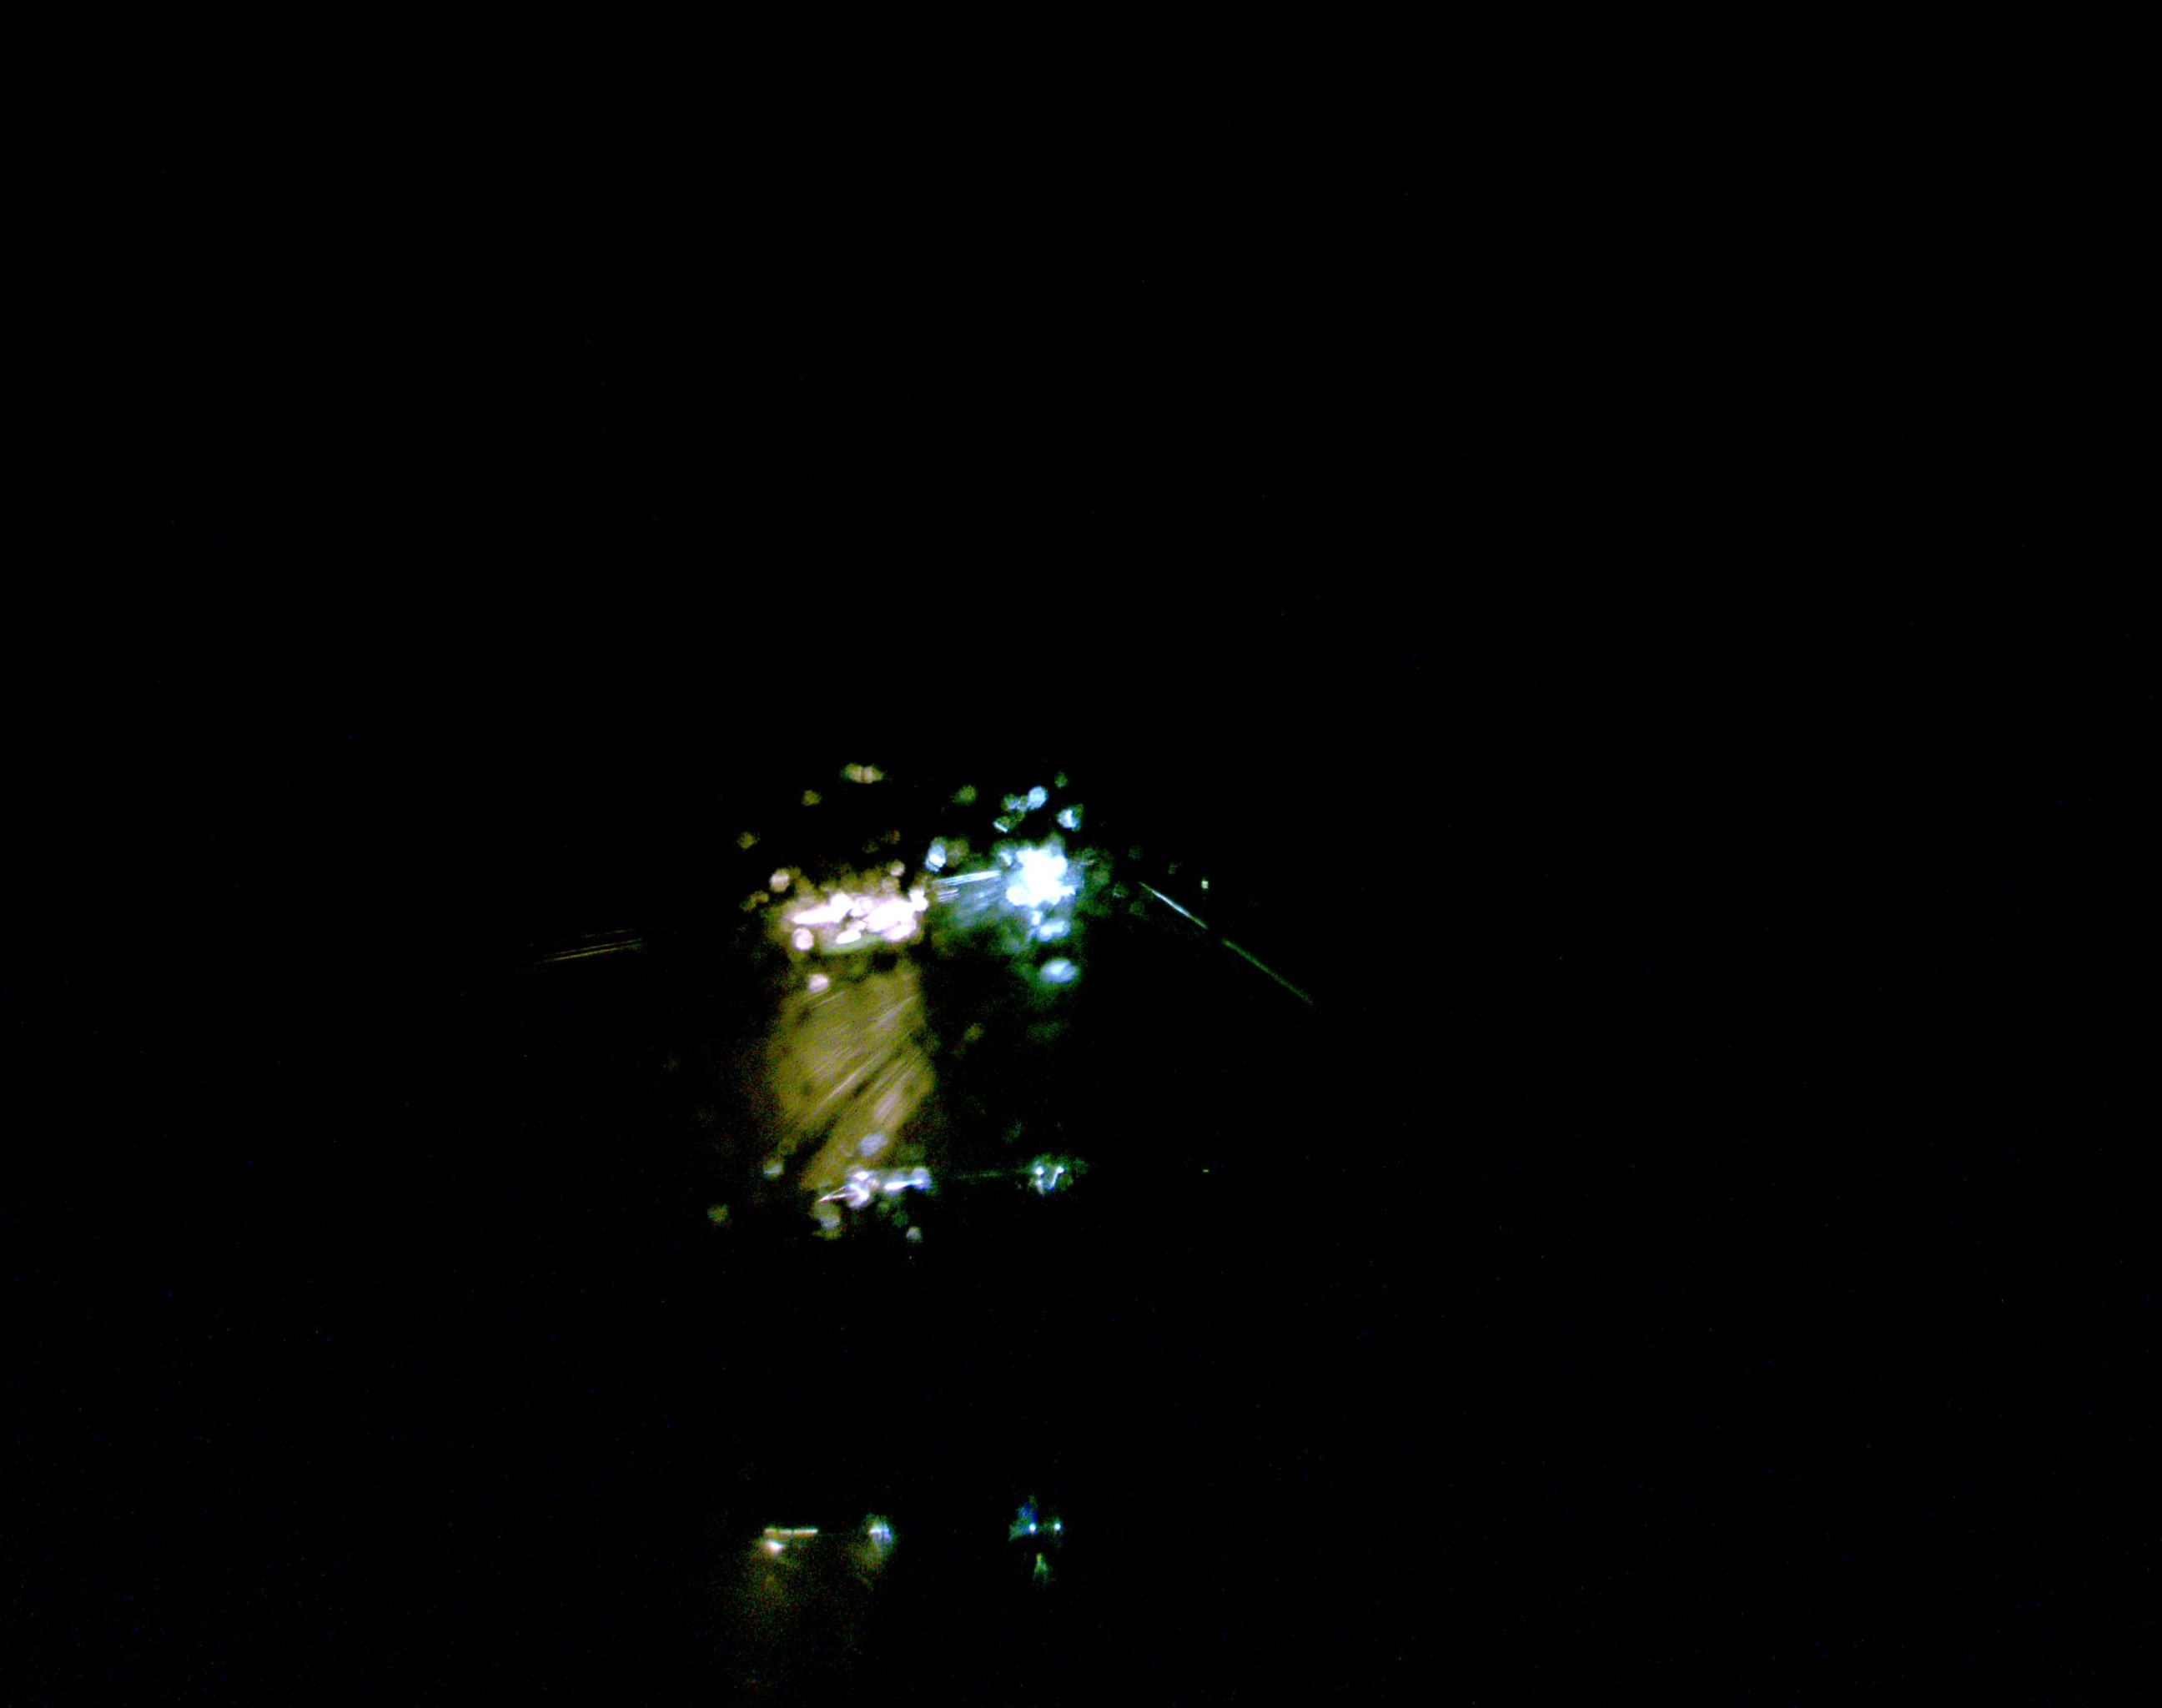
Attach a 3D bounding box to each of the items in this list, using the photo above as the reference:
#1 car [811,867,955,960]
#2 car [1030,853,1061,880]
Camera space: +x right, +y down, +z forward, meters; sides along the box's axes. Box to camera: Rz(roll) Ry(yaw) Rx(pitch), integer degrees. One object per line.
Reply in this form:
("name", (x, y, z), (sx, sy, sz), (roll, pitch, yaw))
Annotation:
("car", (-3.343, 0.953, 14.391), (1.575, 1.385, 3.586), (0, 0, 2))
("car", (-2.253, 0.792, 52.471), (1.812, 1.555, 3.870), (-2, -1, 0))
